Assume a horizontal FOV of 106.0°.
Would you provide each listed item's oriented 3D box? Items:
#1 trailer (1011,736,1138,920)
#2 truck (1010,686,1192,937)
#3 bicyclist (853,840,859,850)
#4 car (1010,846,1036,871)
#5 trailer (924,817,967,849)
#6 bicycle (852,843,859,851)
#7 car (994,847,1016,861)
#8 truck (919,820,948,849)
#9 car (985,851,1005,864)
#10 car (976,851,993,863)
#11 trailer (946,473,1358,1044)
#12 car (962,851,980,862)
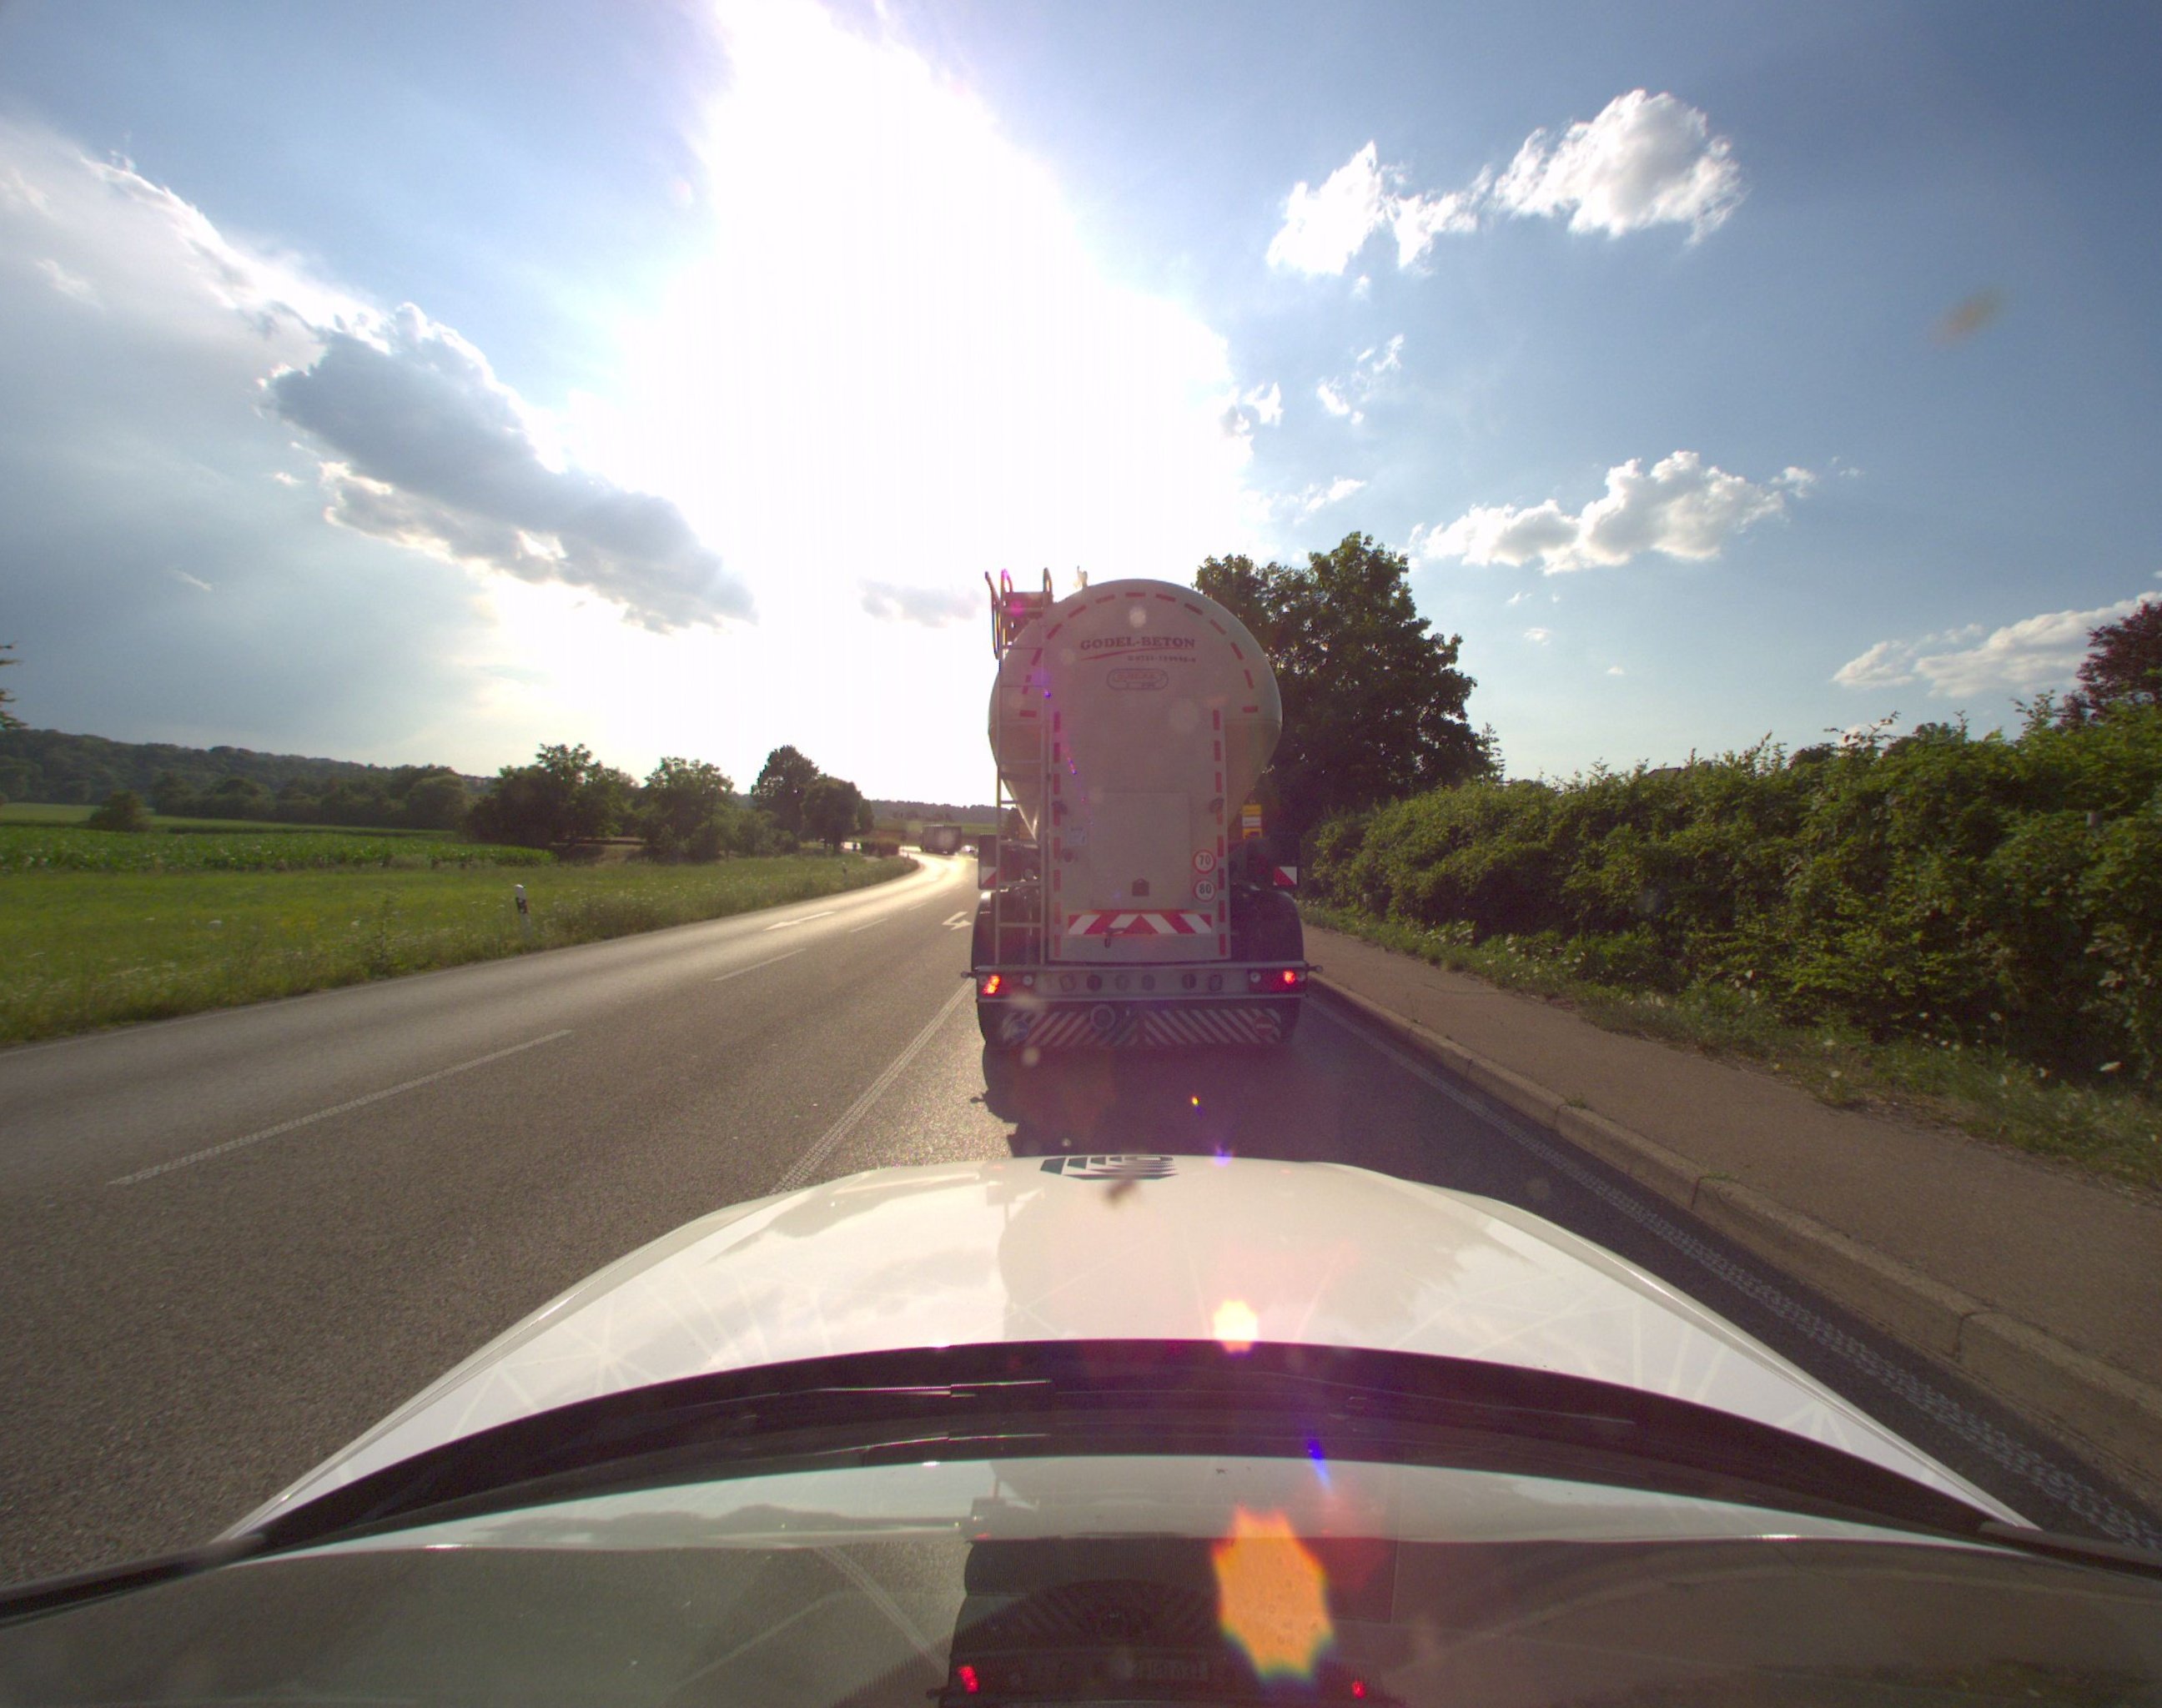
[{"bbox_3d":[0.093,-0.642,26.369,2.943,4.315,14.182,1,0,2],"label":"trailer"},{"bbox_3d":[0.259,-0.697,15.111,2.902,4.006,4.056,0,0,-2],"label":"truck"},{"bbox_3d":[-30.749,-1.212,111.252,0.634,1.419,0.689,2,0,-7],"label":"bicyclist"},{"bbox_3d":[-4.848,0.350,67.470,1.861,2.013,3.708,0,0,-9],"label":"car"},{"bbox_3d":[-20.177,-2.990,120.242,3.388,4.350,14.192,1,0,-21],"label":"trailer"},{"bbox_3d":[-30.765,-0.930,111.319,0.634,1.074,1.667,2,0,-6],"label":"bicycle"},{"bbox_3d":[-7.651,-0.025,81.892,1.583,1.341,3.407,1,0,-16],"label":"car"},{"bbox_3d":[-23.239,-3.012,128.119,3.388,4.350,5.665,1,0,-21],"label":"truck"},{"bbox_3d":[-9.328,0.332,88.105,1.583,1.341,3.407,1,0,-16],"label":"car"},{"bbox_3d":[-11.424,0.307,96.332,1.583,1.341,3.407,1,0,-16],"label":"car"},{"bbox_3d":[0.394,-0.685,10.739,2.901,4.006,9.923,0,0,-1],"label":"trailer"},{"bbox_3d":[-13.894,0.311,102.612,1.773,1.206,3.407,2,0,-16],"label":"car"}]
